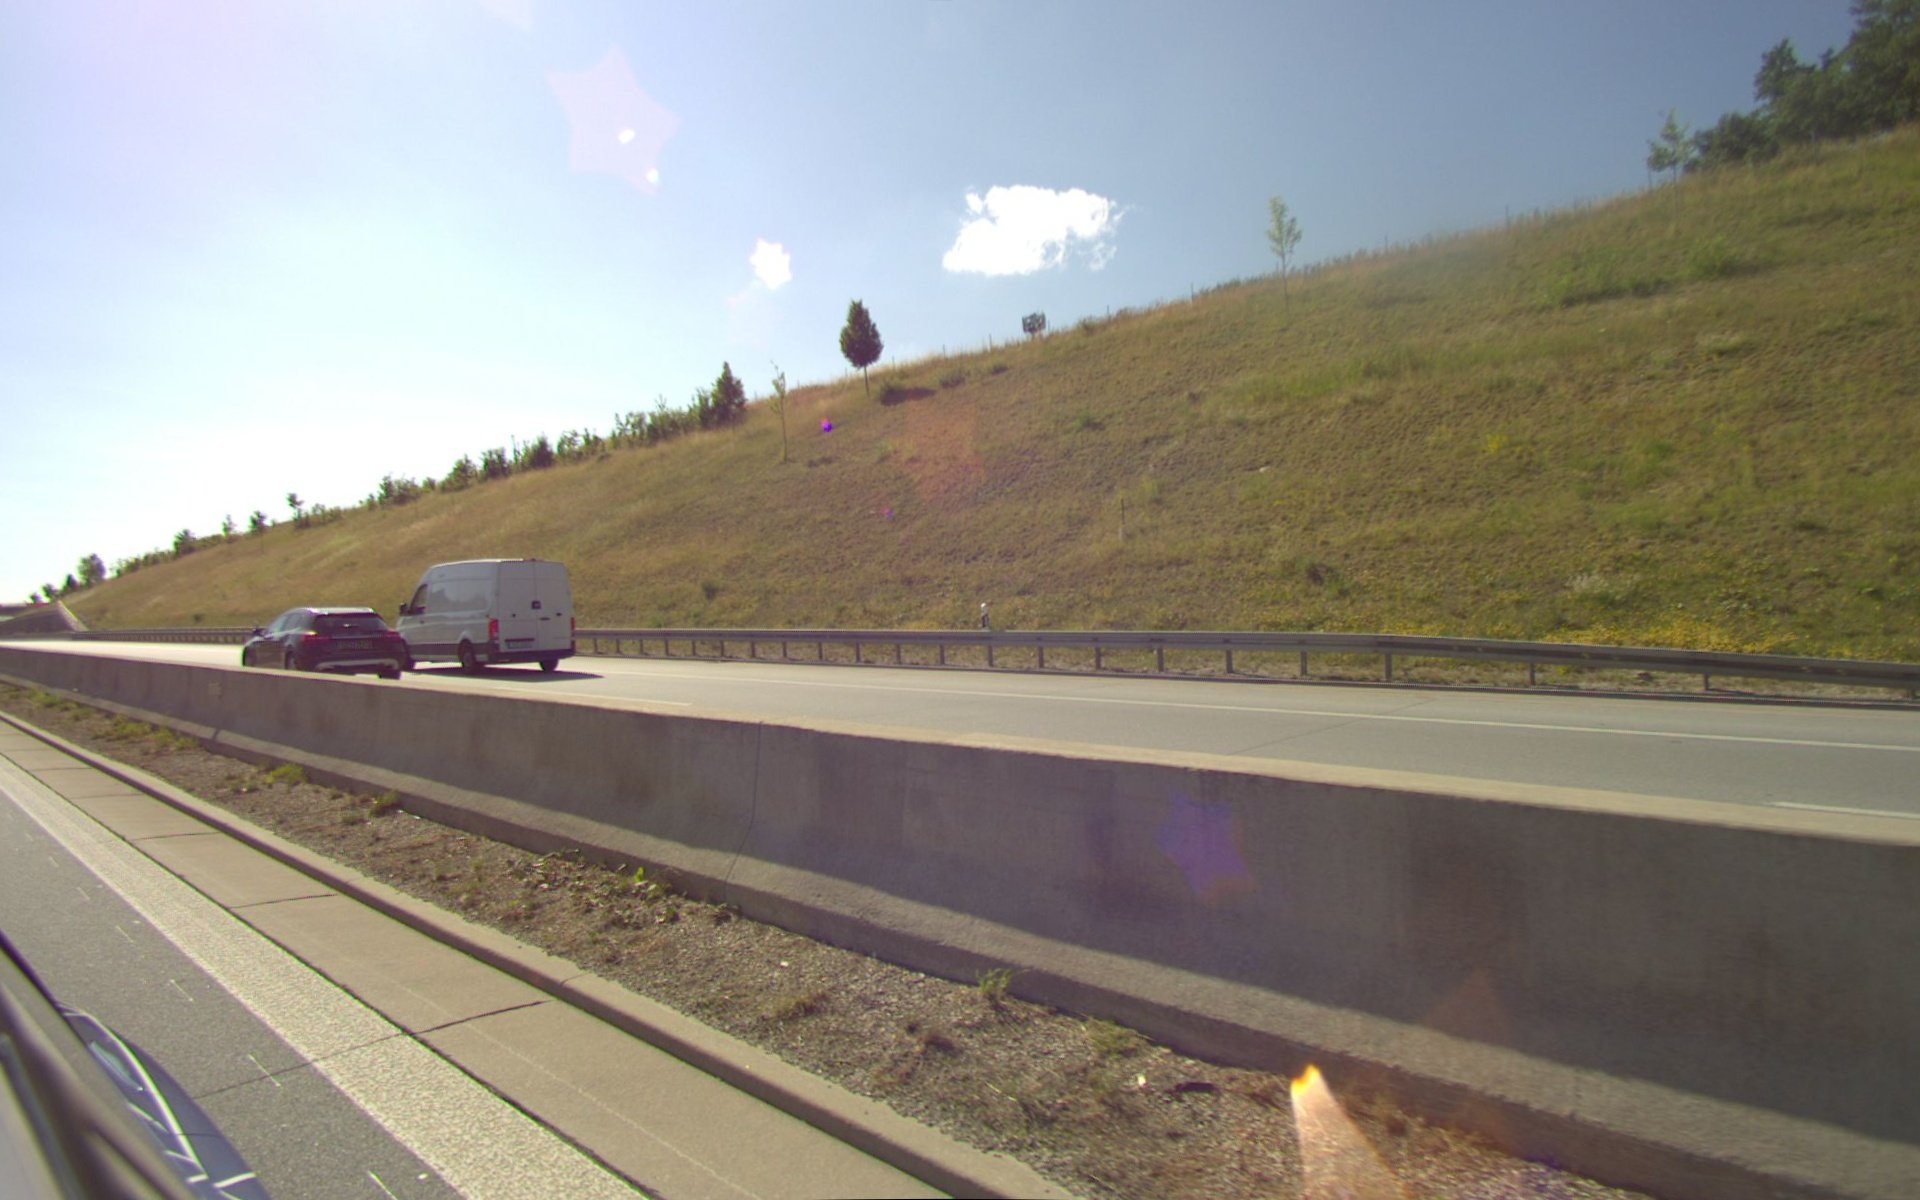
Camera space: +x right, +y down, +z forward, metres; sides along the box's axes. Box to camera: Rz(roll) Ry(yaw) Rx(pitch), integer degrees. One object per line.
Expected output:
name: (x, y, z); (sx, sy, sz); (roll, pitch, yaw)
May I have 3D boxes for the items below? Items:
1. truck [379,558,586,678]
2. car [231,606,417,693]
truck: (-11.297, 0.428, 23.707); (5.947, 2.479, 2.091); (-2, 0, 40)
car: (-12.348, 0.908, 19.529); (4.330, 1.472, 1.835); (-2, 0, 41)
